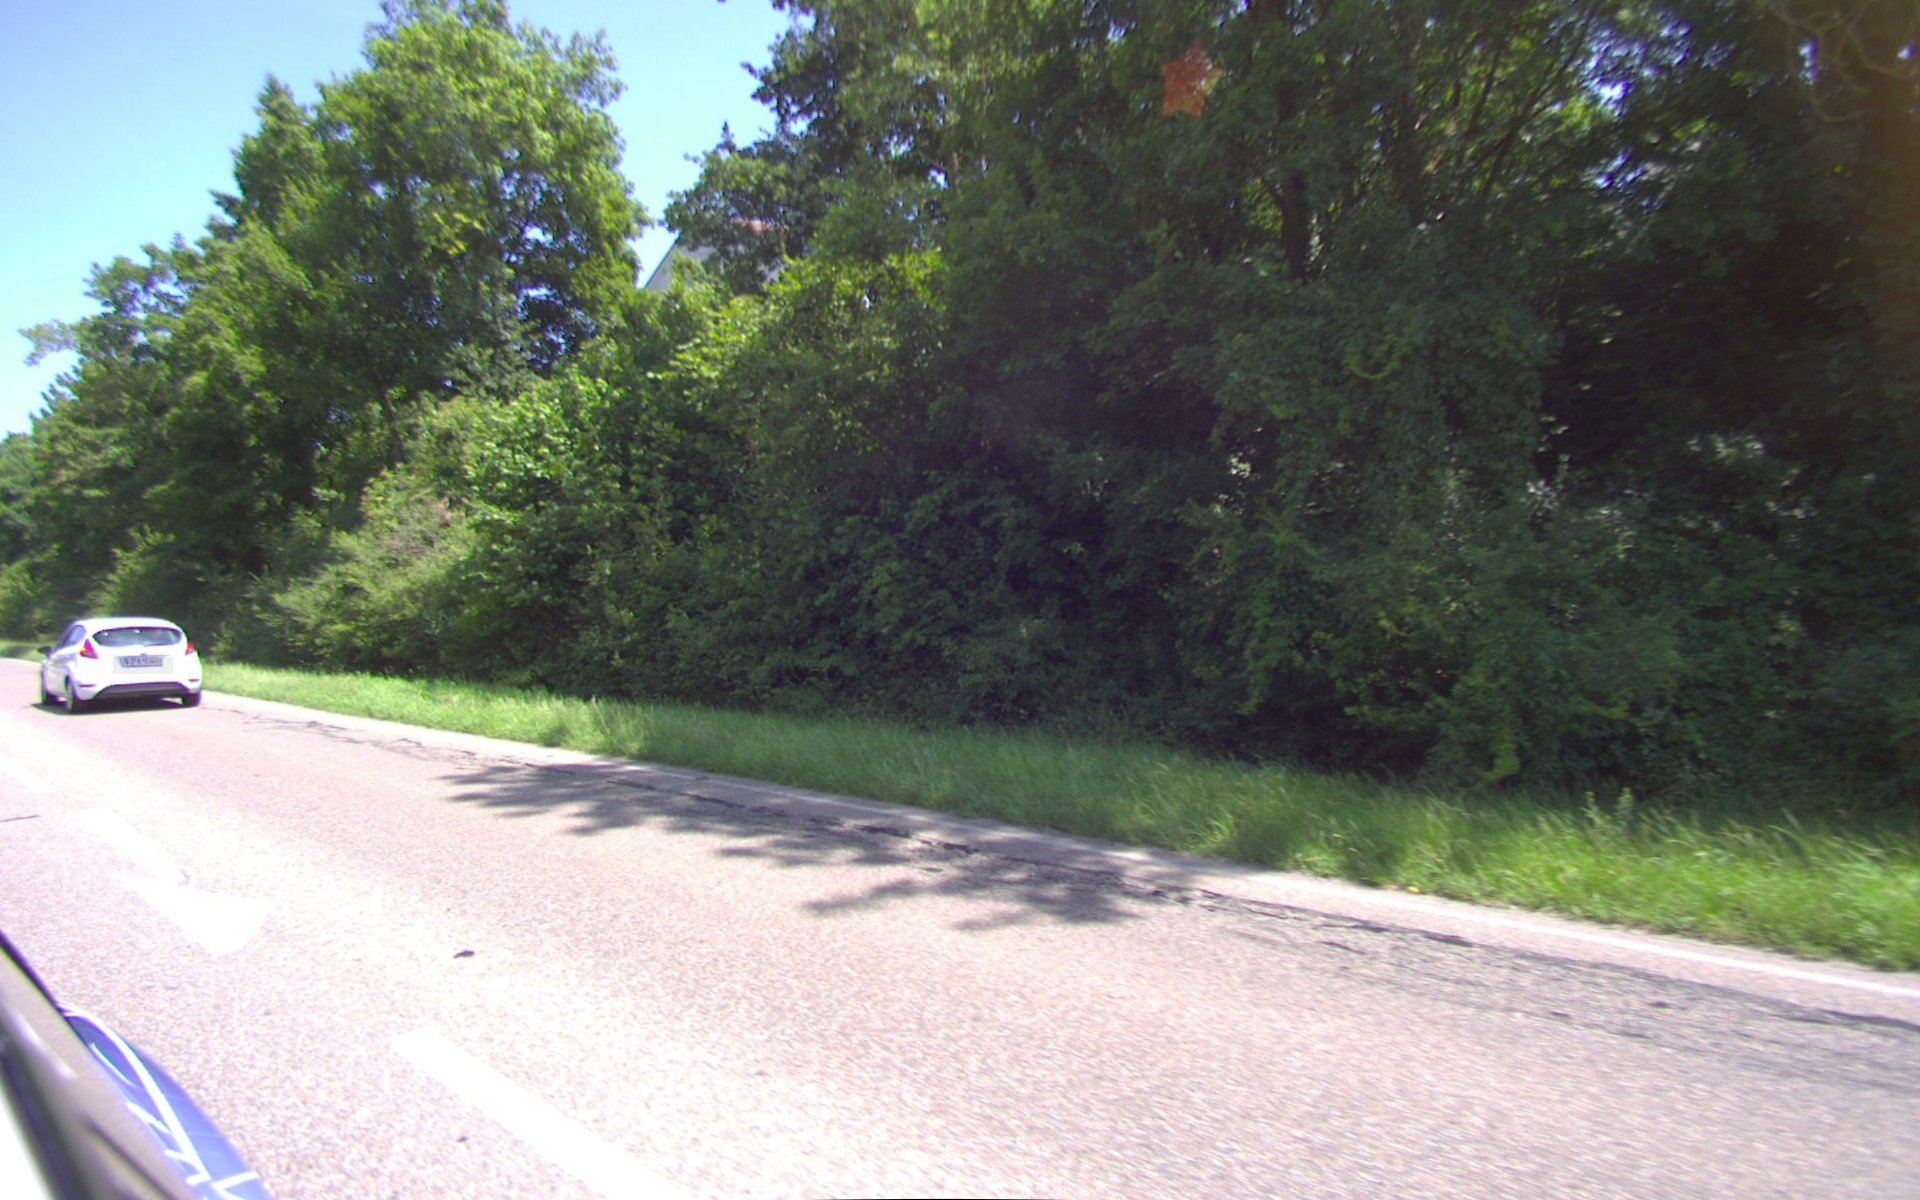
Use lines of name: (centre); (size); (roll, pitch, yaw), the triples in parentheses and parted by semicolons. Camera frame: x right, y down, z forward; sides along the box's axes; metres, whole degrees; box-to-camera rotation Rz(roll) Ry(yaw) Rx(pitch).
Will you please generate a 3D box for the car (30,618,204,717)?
car: (-14.072, 1.032, 16.831); (3.770, 1.444, 1.660); (-1, -1, 41)
